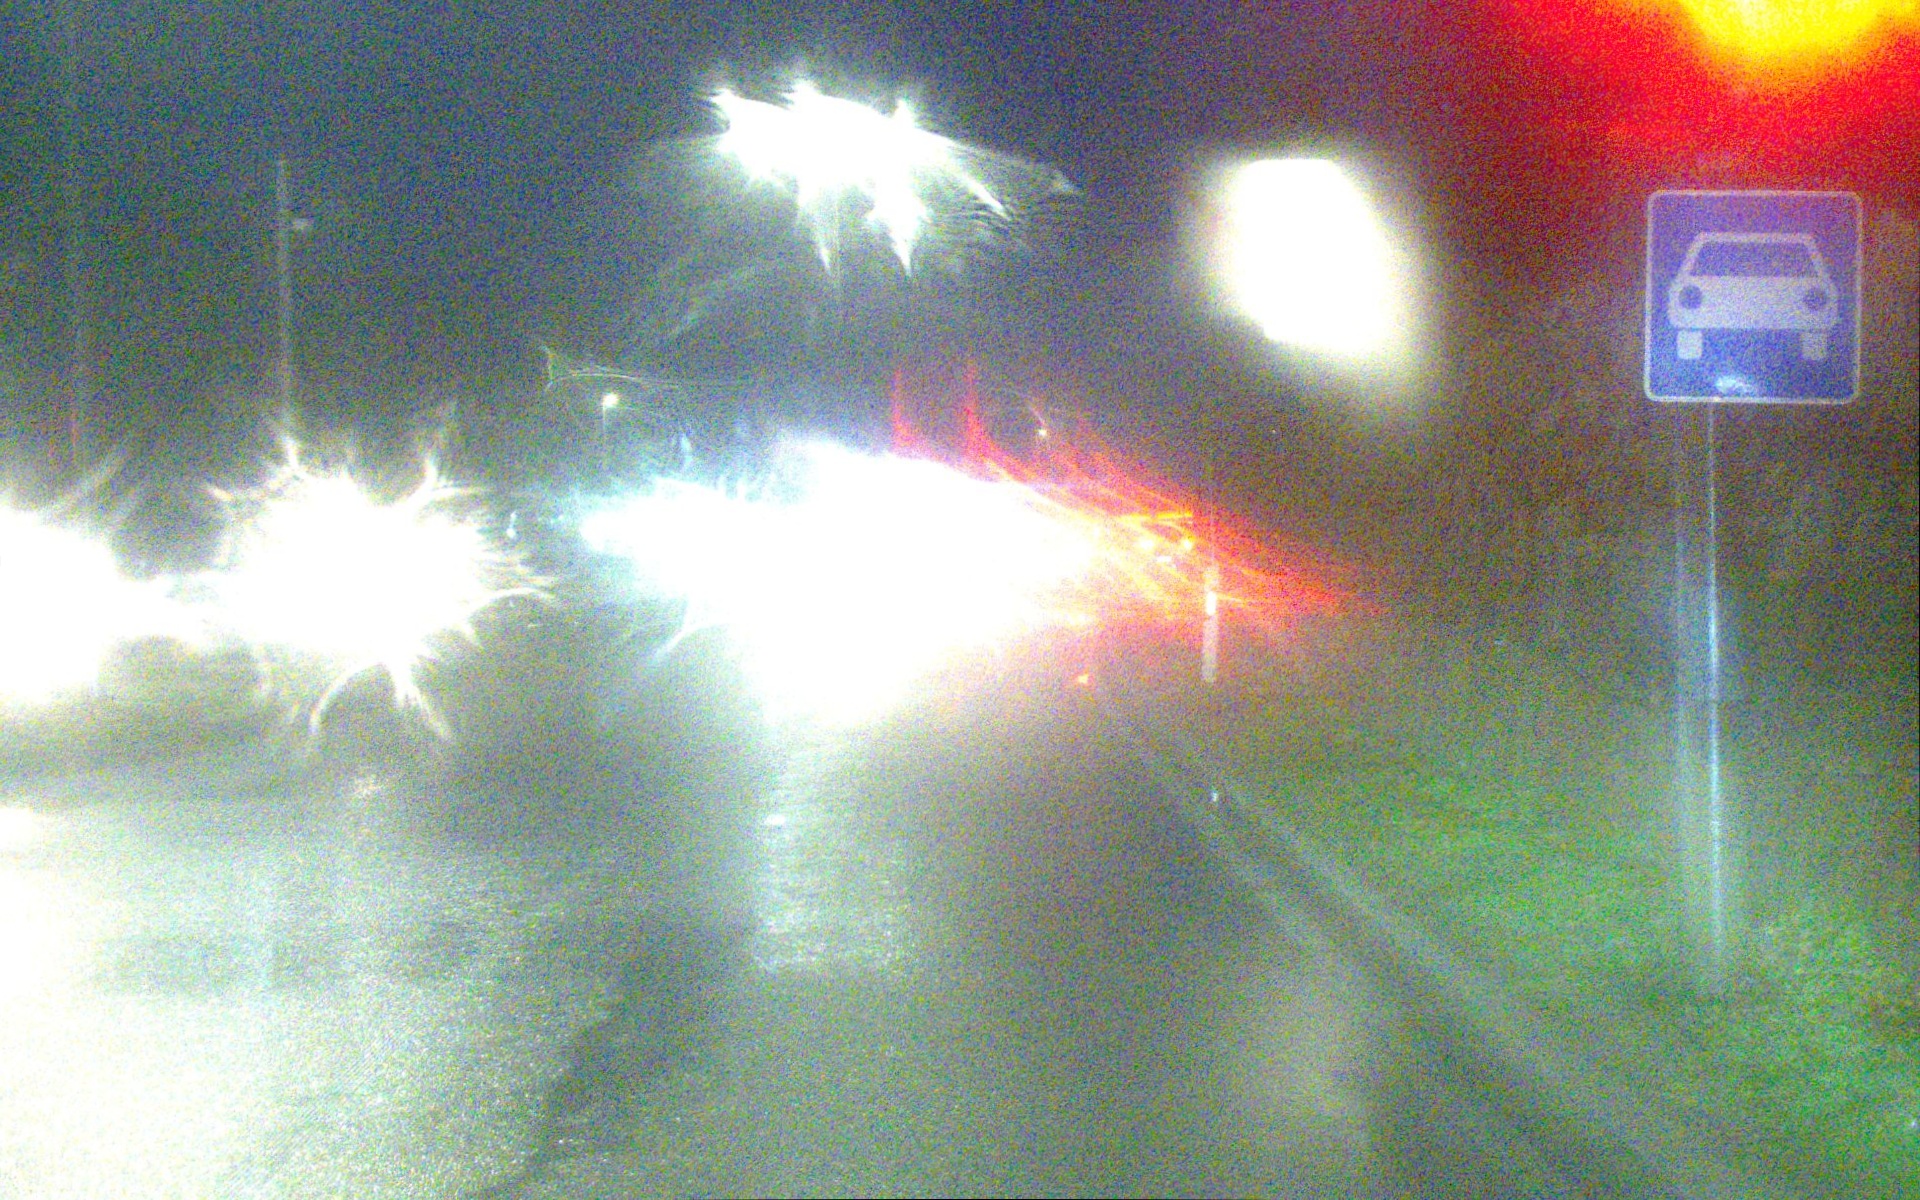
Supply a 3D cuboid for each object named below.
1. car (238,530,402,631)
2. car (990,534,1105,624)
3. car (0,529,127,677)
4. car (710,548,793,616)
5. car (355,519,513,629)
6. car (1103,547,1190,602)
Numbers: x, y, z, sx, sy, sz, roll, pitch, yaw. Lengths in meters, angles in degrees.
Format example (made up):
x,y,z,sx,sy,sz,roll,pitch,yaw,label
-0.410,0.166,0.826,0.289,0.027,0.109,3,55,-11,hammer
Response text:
x,y,z,sx,sy,sz,roll,pitch,yaw,label
-11.264,-0.338,60.762,1.994,1.714,4.000,0,0,2,car
1.592,-0.382,63.891,1.993,1.605,4.103,0,0,-1,car
-10.347,0.030,37.238,1.585,1.520,3.651,0,0,3,car
-4.764,-0.403,79.074,1.708,1.529,4.600,0,0,-1,car
-8.440,-0.413,55.459,1.718,1.697,4.143,0,0,3,car
4.964,-0.667,92.043,2.103,1.434,4.000,0,0,0,car
